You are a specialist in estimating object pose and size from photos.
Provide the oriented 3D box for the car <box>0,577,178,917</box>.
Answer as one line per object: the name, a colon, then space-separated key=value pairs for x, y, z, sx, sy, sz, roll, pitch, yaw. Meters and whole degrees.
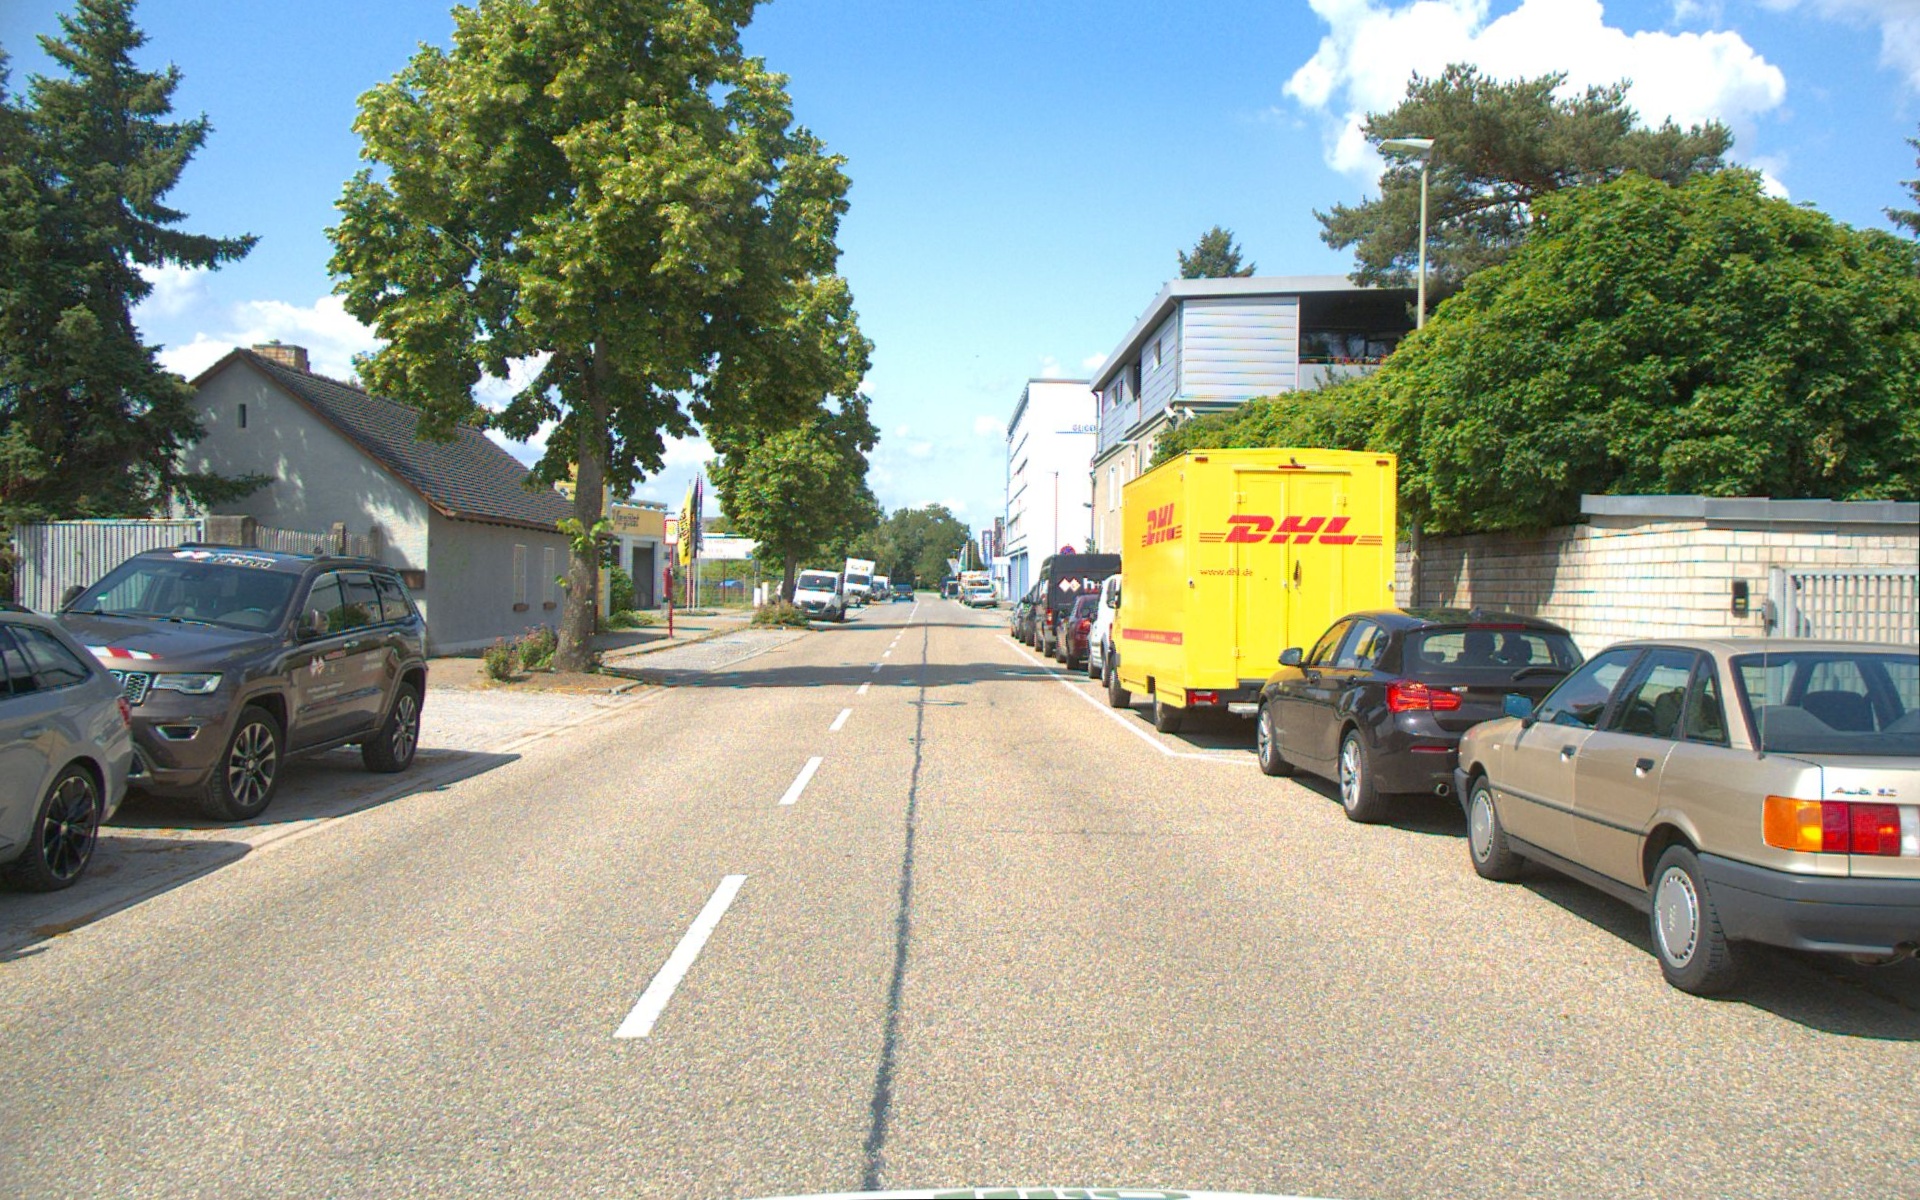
car: x=-5.327 y=0.693 z=7.130 sx=1.698 sy=1.544 sz=4.741 roll=3 pitch=1 yaw=-2

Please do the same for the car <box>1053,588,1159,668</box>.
car: x=2.923 y=0.524 z=33.933 sx=1.647 sy=1.467 sz=4.765 roll=2 pitch=0 yaw=-1

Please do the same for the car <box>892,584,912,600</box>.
car: x=-4.956 y=-0.710 z=142.849 sx=1.621 sy=1.348 sz=4.416 roll=1 pitch=1 yaw=-1

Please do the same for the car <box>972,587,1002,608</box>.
car: x=1.834 y=-0.190 z=112.144 sx=1.889 sy=1.333 sz=3.999 roll=1 pitch=1 yaw=-1

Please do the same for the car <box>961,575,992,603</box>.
car: x=1.227 y=-0.885 z=125.497 sx=2.171 sy=2.049 sz=5.484 roll=1 pitch=1 yaw=-1

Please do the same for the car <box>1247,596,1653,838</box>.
car: x=3.454 y=0.732 z=12.530 sx=1.629 sy=1.466 sz=4.281 roll=1 pitch=1 yaw=-3

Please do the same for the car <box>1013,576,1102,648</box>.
car: x=2.642 y=0.296 z=45.835 sx=1.921 sy=1.811 sz=4.952 roll=2 pitch=1 yaw=-2

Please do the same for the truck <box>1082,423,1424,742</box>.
truck: x=3.095 y=-0.200 z=19.526 sx=2.425 sy=2.991 sz=7.186 roll=2 pitch=0 yaw=-2

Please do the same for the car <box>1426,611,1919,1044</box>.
car: x=3.720 y=0.822 z=7.947 sx=1.618 sy=1.411 sz=4.422 roll=2 pitch=1 yaw=-1

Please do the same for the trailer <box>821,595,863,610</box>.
trailer: x=-7.781 y=0.143 z=109.622 sx=2.368 sy=0.827 sz=5.536 roll=3 pitch=1 yaw=-1

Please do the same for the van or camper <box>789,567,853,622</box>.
van or camper: x=-6.572 y=-0.296 z=79.162 sx=2.128 sy=2.455 sz=7.700 roll=1 pitch=1 yaw=2

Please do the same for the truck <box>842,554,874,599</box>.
truck: x=-7.586 y=-1.742 z=123.466 sx=1.988 sy=3.209 sz=6.499 roll=1 pitch=1 yaw=-1

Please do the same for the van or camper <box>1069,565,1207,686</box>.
van or camper: x=2.979 y=0.378 z=28.715 sx=1.723 sy=1.837 sz=5.586 roll=2 pitch=0 yaw=0

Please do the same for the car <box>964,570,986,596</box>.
car: x=1.229 y=-1.417 z=136.182 sx=1.673 sy=2.126 sz=3.999 roll=1 pitch=1 yaw=-2

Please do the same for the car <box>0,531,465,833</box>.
car: x=-5.497 y=0.483 z=12.675 sx=1.879 sy=1.854 sz=4.786 roll=1 pitch=0 yaw=1

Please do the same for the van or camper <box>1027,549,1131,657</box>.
van or camper: x=2.782 y=0.042 z=39.872 sx=1.953 sy=2.331 sz=5.447 roll=2 pitch=0 yaw=-1
